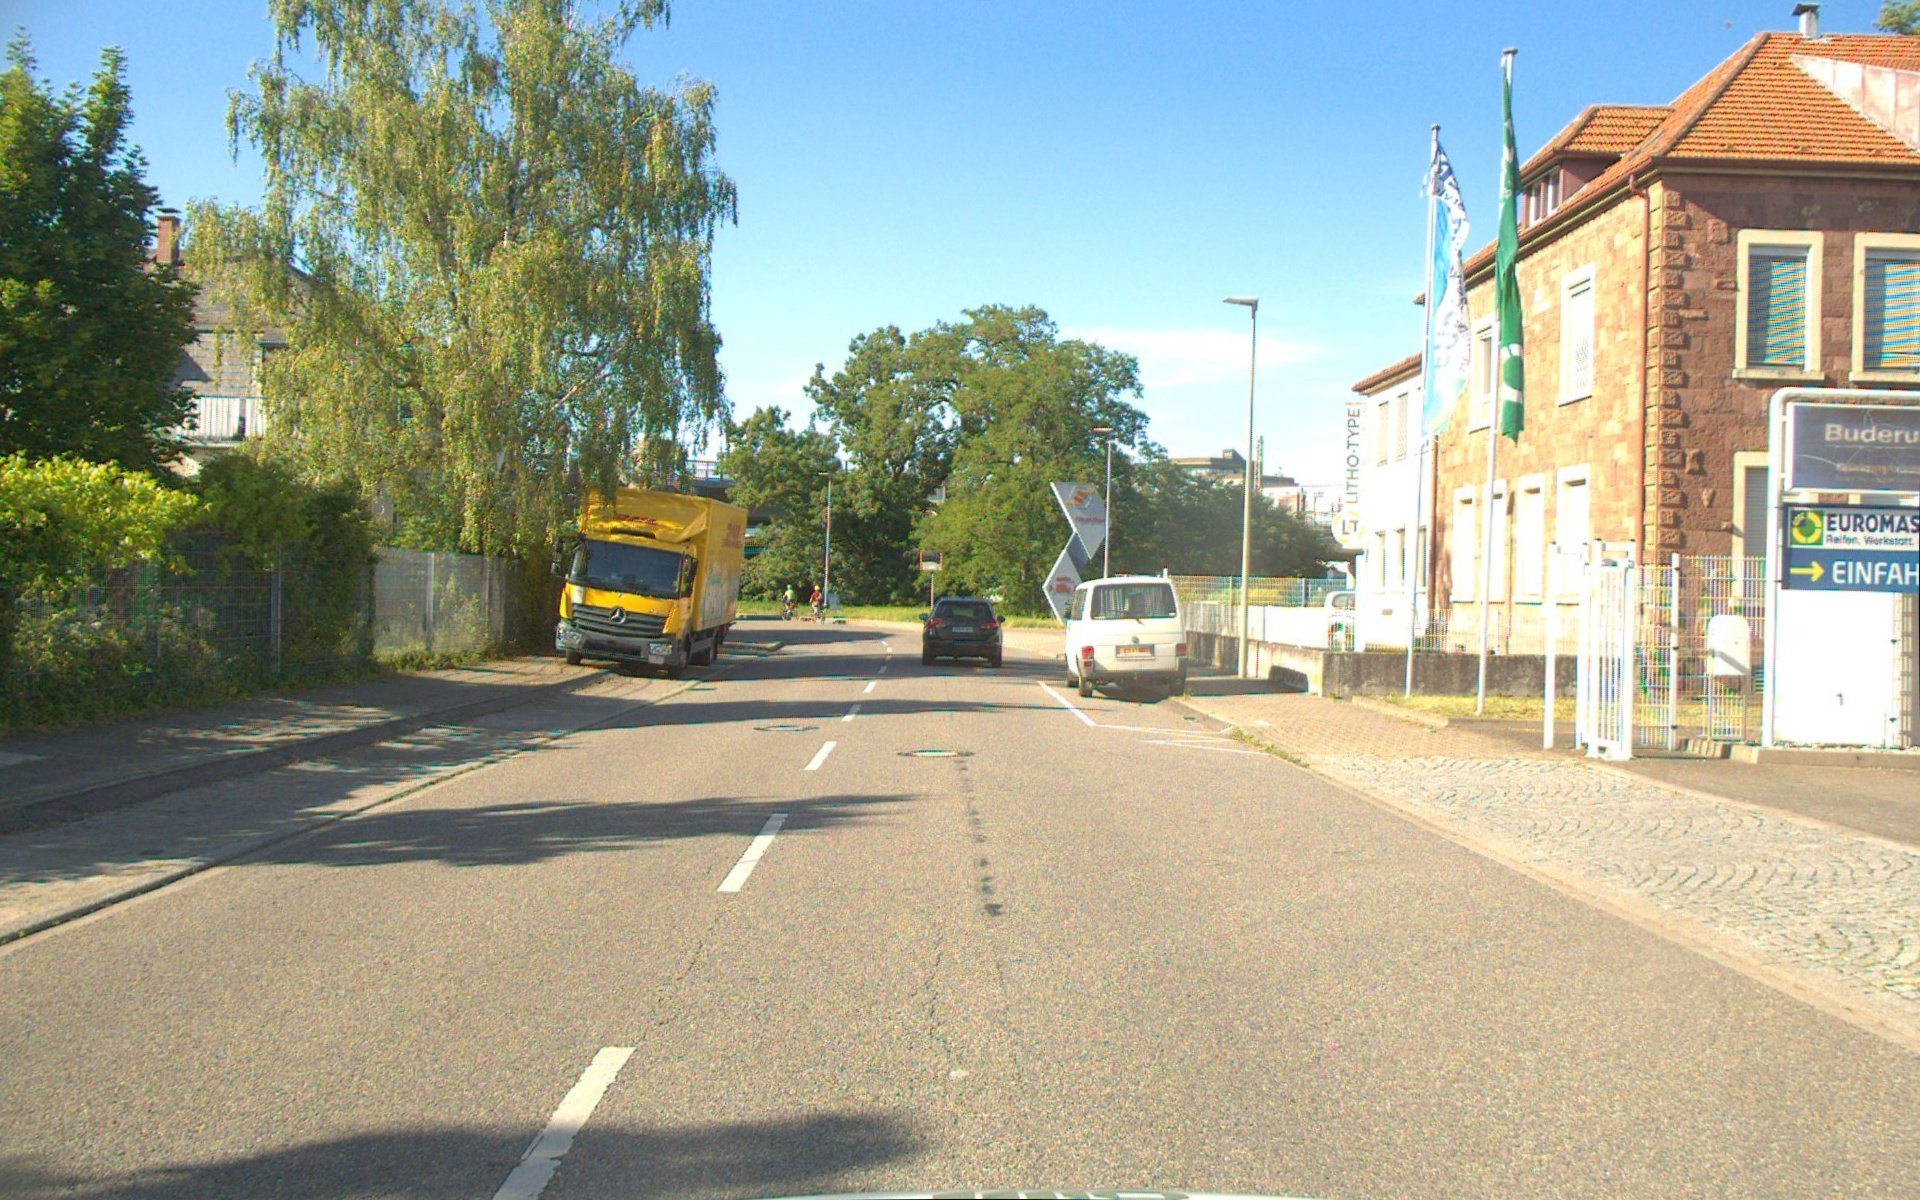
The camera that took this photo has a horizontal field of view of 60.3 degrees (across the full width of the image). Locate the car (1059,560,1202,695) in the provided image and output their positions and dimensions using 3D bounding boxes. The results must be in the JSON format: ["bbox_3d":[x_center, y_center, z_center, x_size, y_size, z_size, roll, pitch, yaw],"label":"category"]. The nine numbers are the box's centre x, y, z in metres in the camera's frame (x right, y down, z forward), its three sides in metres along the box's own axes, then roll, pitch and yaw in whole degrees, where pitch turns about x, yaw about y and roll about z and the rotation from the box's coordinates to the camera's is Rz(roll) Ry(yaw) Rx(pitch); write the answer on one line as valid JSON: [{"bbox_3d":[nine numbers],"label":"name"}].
[{"bbox_3d":[2.823,0.434,28.497,1.836,2.049,5.160,2,0,0],"label":"car"}]

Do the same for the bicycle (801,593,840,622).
[{"bbox_3d":[-6.627,0.355,78.732,0.797,1.290,2.231,2,0,-35],"label":"bicycle"}]

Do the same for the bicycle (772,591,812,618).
[{"bbox_3d":[-8.351,0.221,82.170,0.798,1.242,2.226,2,0,-40],"label":"bicycle"}]

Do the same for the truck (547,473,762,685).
[{"bbox_3d":[-6.085,-0.488,34.454,2.579,3.564,8.657,7,1,-1],"label":"truck"}]

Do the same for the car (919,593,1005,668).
[{"bbox_3d":[0.037,0.639,36.863,1.809,1.556,4.000,0,1,0],"label":"car"}]

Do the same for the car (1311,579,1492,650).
[{"bbox_3d":[13.261,0.389,49.949,1.866,2.049,5.078,0,1,-43],"label":"car"}]
